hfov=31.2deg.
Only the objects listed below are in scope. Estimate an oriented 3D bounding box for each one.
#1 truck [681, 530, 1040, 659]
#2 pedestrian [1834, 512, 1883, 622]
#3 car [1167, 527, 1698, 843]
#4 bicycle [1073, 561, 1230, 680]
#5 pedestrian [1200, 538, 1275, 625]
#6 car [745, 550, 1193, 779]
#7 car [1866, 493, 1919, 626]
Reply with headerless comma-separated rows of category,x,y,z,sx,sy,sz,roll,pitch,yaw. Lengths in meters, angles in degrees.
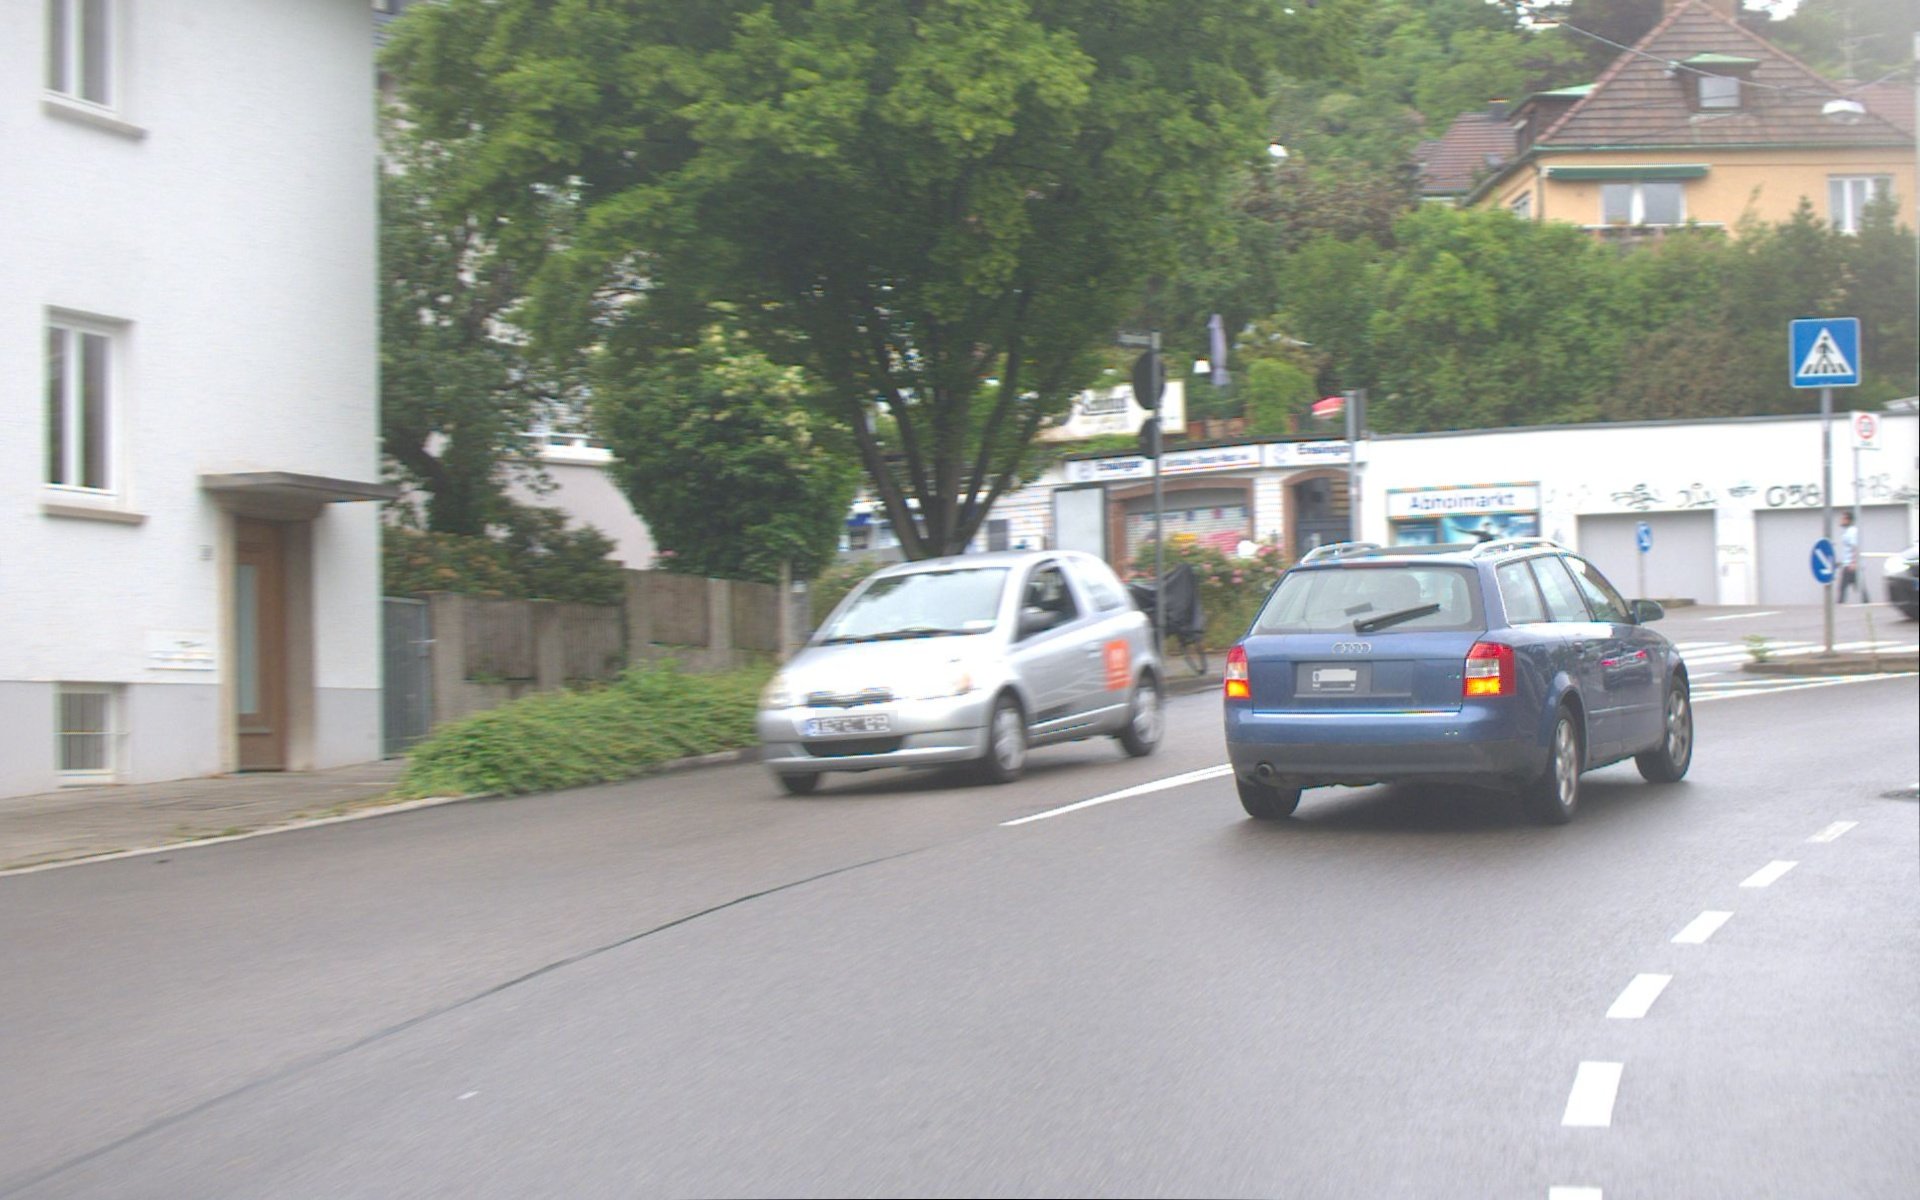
truck,-1.906,-0.156,63.557,6.803,2.261,2.309,1,1,39
pedestrian,14.888,-0.558,56.975,0.705,1.799,0.808,-1,1,19
car,2.693,0.366,18.741,1.813,1.434,4.077,0,2,24
bicycle,1.983,0.200,35.400,0.421,1.081,1.959,0,4,43
pedestrian,4.938,-0.338,61.120,0.978,1.500,0.888,1,3,43
car,0.150,0.390,23.299,1.489,1.418,3.851,-2,0,26
car,12.963,-0.516,40.294,4.622,1.487,1.876,-1,-2,-33
